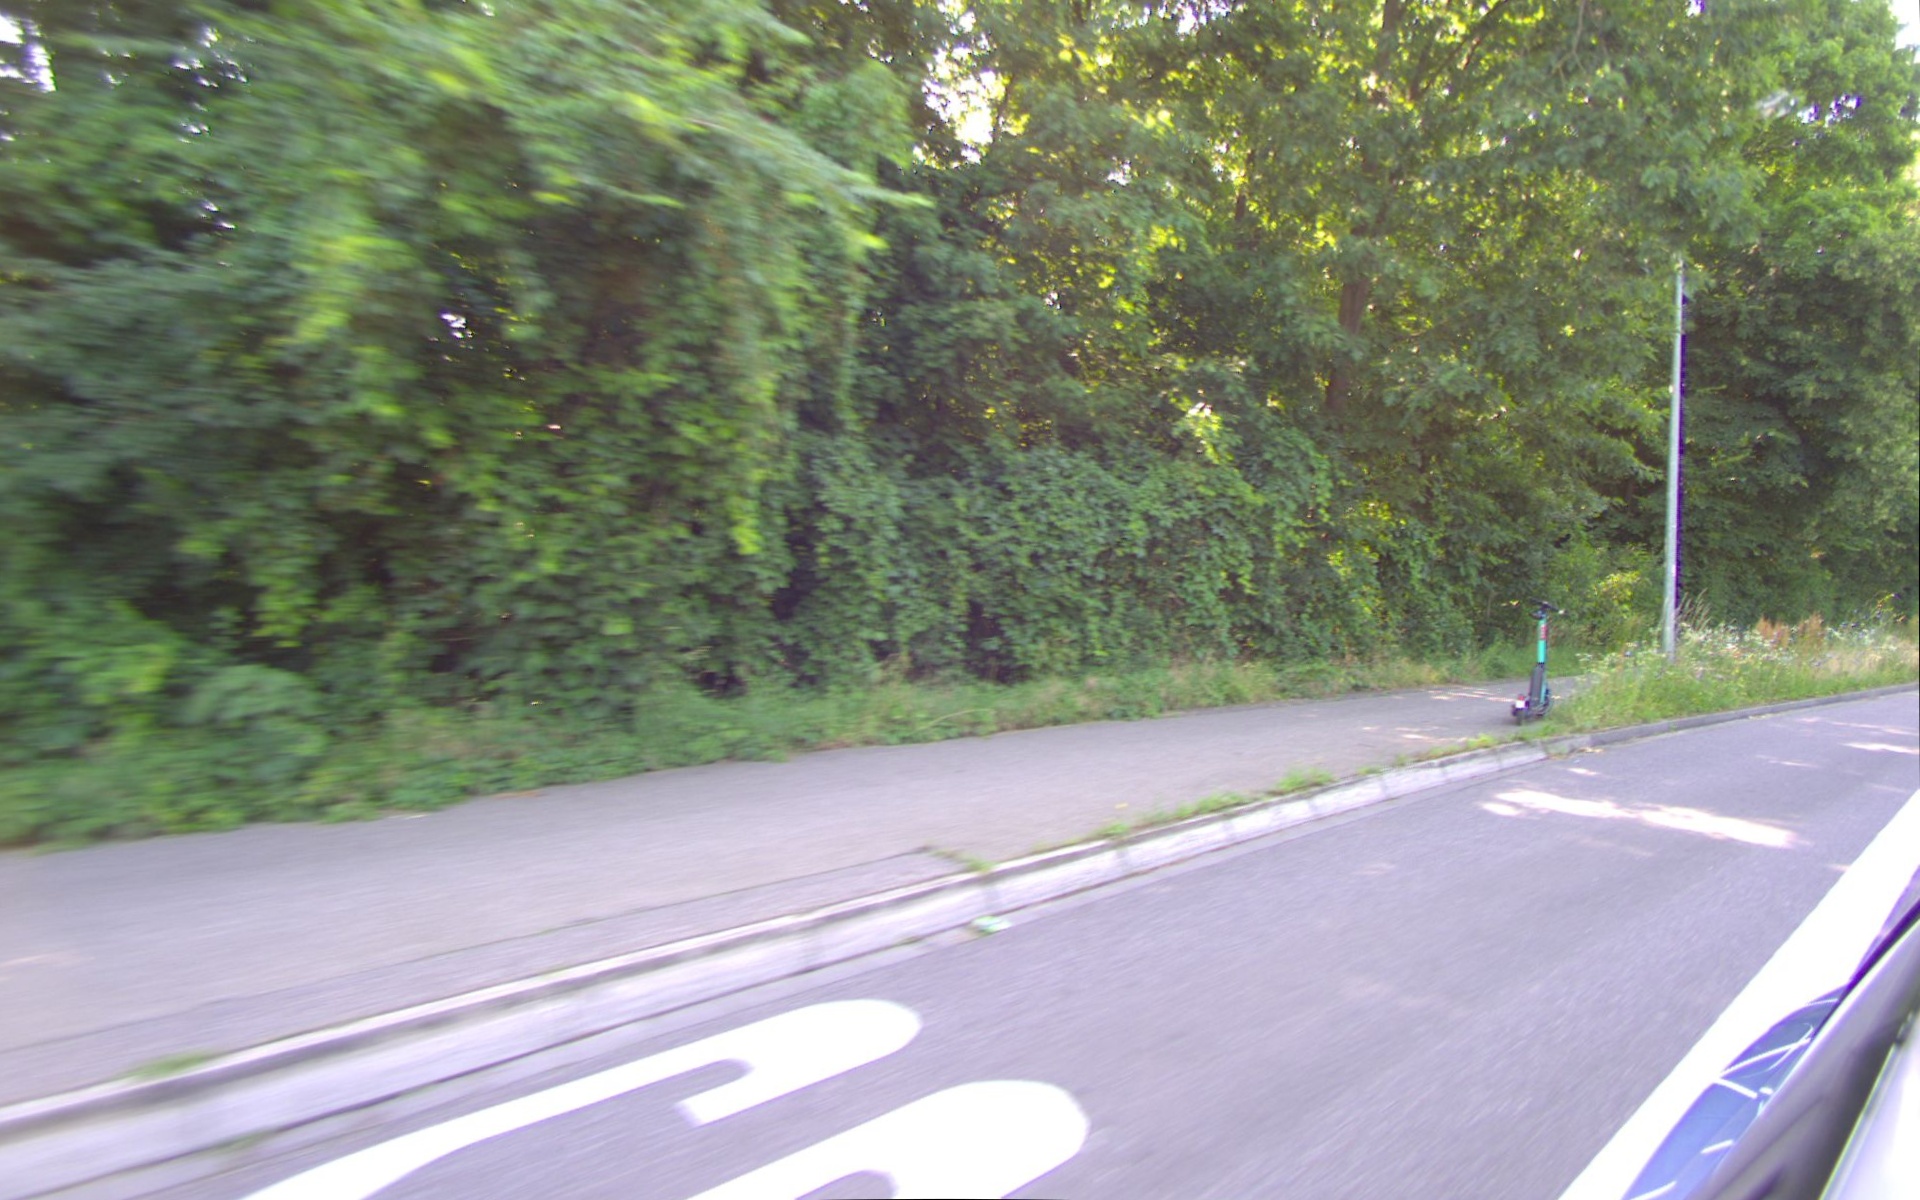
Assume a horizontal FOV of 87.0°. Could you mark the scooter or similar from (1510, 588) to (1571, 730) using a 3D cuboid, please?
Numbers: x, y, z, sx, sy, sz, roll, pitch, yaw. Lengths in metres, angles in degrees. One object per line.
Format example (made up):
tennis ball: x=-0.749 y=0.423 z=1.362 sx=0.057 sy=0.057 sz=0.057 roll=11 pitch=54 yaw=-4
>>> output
scooter or similar: x=5.865 y=0.552 z=10.205 sx=0.398 sy=1.323 sz=1.314 roll=3 pitch=2 yaw=34
